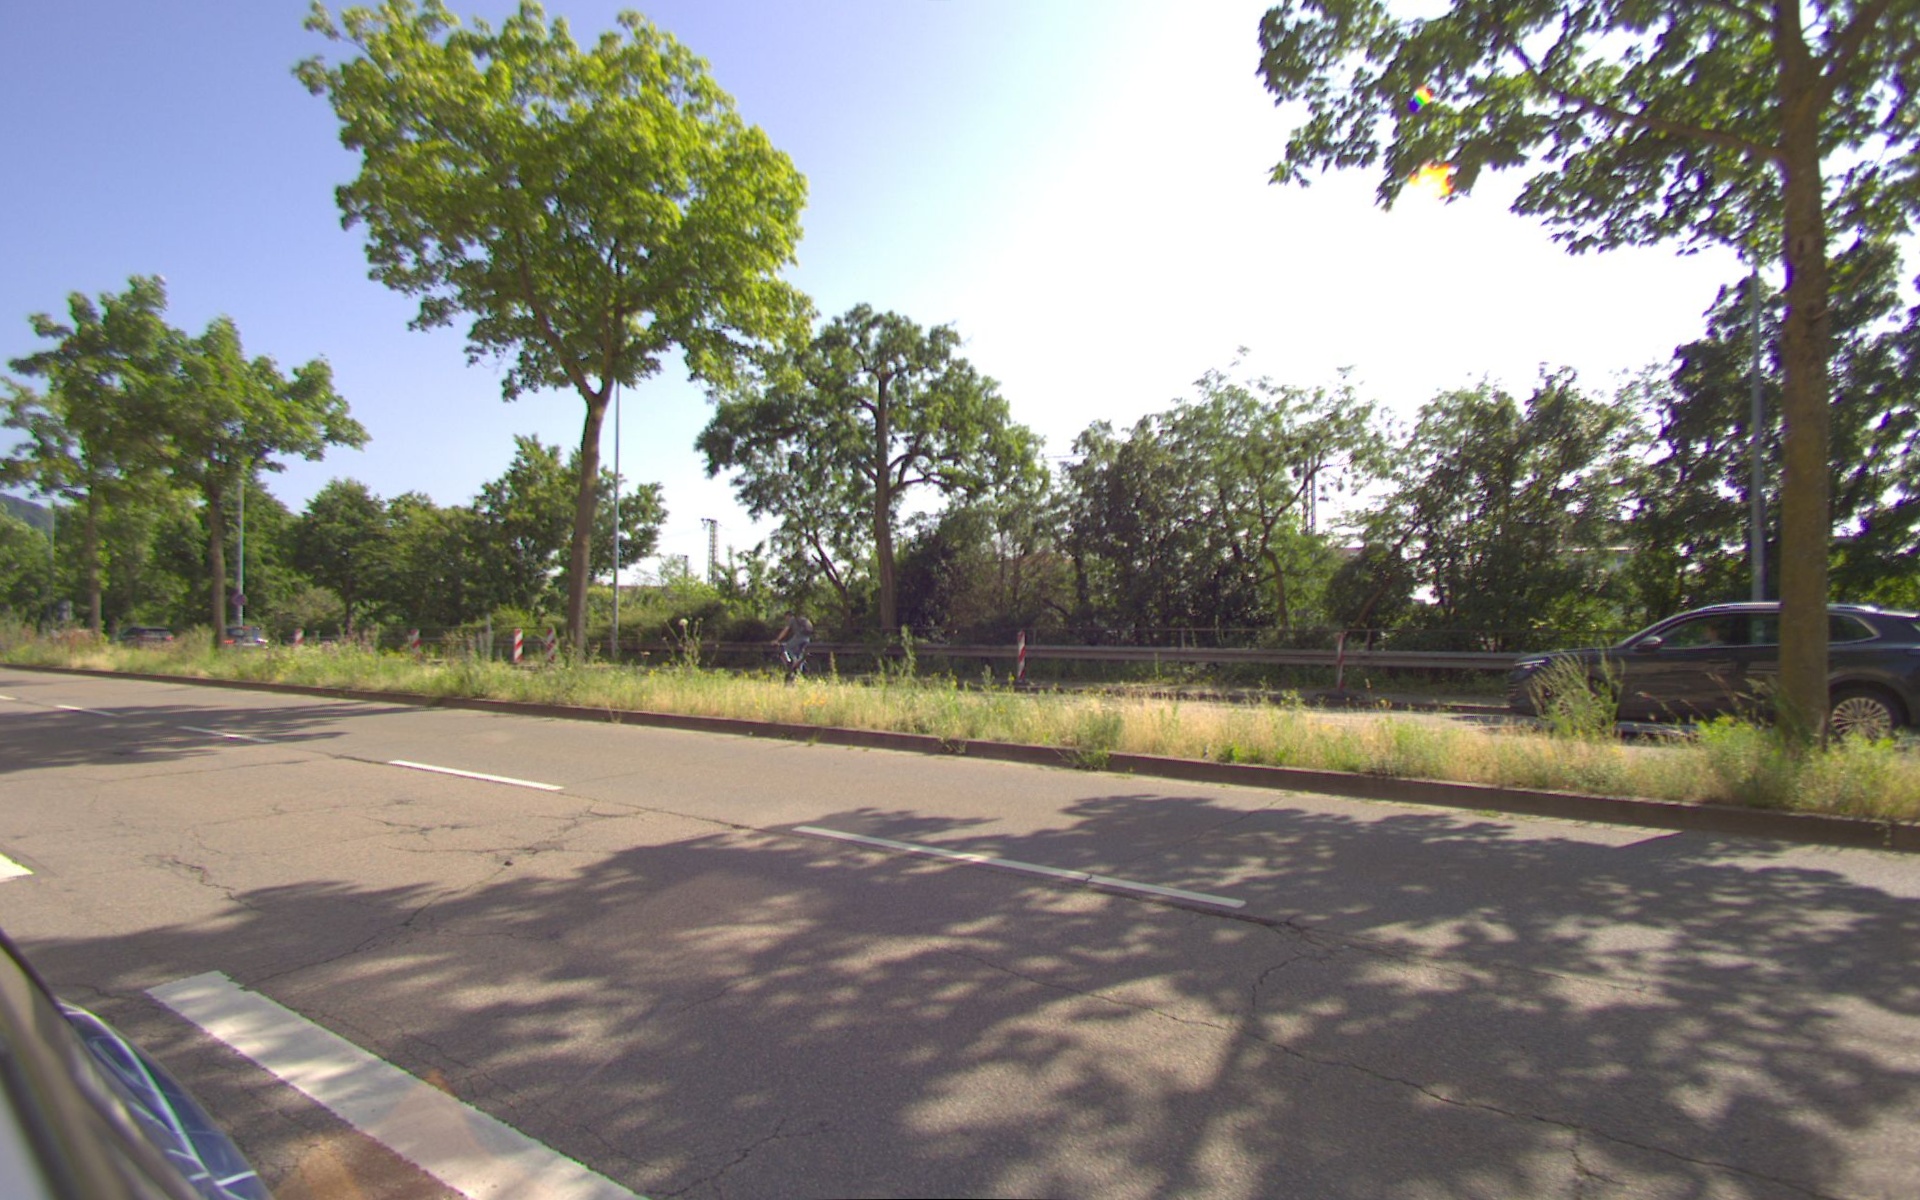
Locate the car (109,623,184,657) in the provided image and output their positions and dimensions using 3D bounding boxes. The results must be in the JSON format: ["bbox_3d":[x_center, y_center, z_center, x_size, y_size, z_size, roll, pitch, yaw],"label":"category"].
[{"bbox_3d":[-39.173,1.879,48.713,3.990,1.541,1.782,-1,-1,35],"label":"car"}]

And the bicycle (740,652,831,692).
[{"bbox_3d":[-4.266,1.738,24.674,2.335,0.912,0.687,-1,-2,33],"label":"bicycle"}]

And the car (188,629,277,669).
[{"bbox_3d":[-28.711,1.879,39.889,4.078,1.485,1.747,-1,-2,38],"label":"car"}]

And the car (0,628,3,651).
[{"bbox_3d":[-64.003,2.570,65.896,3.960,1.427,1.631,-1,-2,34],"label":"car"}]

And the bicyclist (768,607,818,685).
[{"bbox_3d":[-4.050,1.094,24.537,1.014,1.846,0.691,-1,-2,33],"label":"bicyclist"}]

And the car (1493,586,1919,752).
[{"bbox_3d":[9.382,0.756,12.458,4.723,1.747,1.974,-1,-1,38],"label":"car"}]
